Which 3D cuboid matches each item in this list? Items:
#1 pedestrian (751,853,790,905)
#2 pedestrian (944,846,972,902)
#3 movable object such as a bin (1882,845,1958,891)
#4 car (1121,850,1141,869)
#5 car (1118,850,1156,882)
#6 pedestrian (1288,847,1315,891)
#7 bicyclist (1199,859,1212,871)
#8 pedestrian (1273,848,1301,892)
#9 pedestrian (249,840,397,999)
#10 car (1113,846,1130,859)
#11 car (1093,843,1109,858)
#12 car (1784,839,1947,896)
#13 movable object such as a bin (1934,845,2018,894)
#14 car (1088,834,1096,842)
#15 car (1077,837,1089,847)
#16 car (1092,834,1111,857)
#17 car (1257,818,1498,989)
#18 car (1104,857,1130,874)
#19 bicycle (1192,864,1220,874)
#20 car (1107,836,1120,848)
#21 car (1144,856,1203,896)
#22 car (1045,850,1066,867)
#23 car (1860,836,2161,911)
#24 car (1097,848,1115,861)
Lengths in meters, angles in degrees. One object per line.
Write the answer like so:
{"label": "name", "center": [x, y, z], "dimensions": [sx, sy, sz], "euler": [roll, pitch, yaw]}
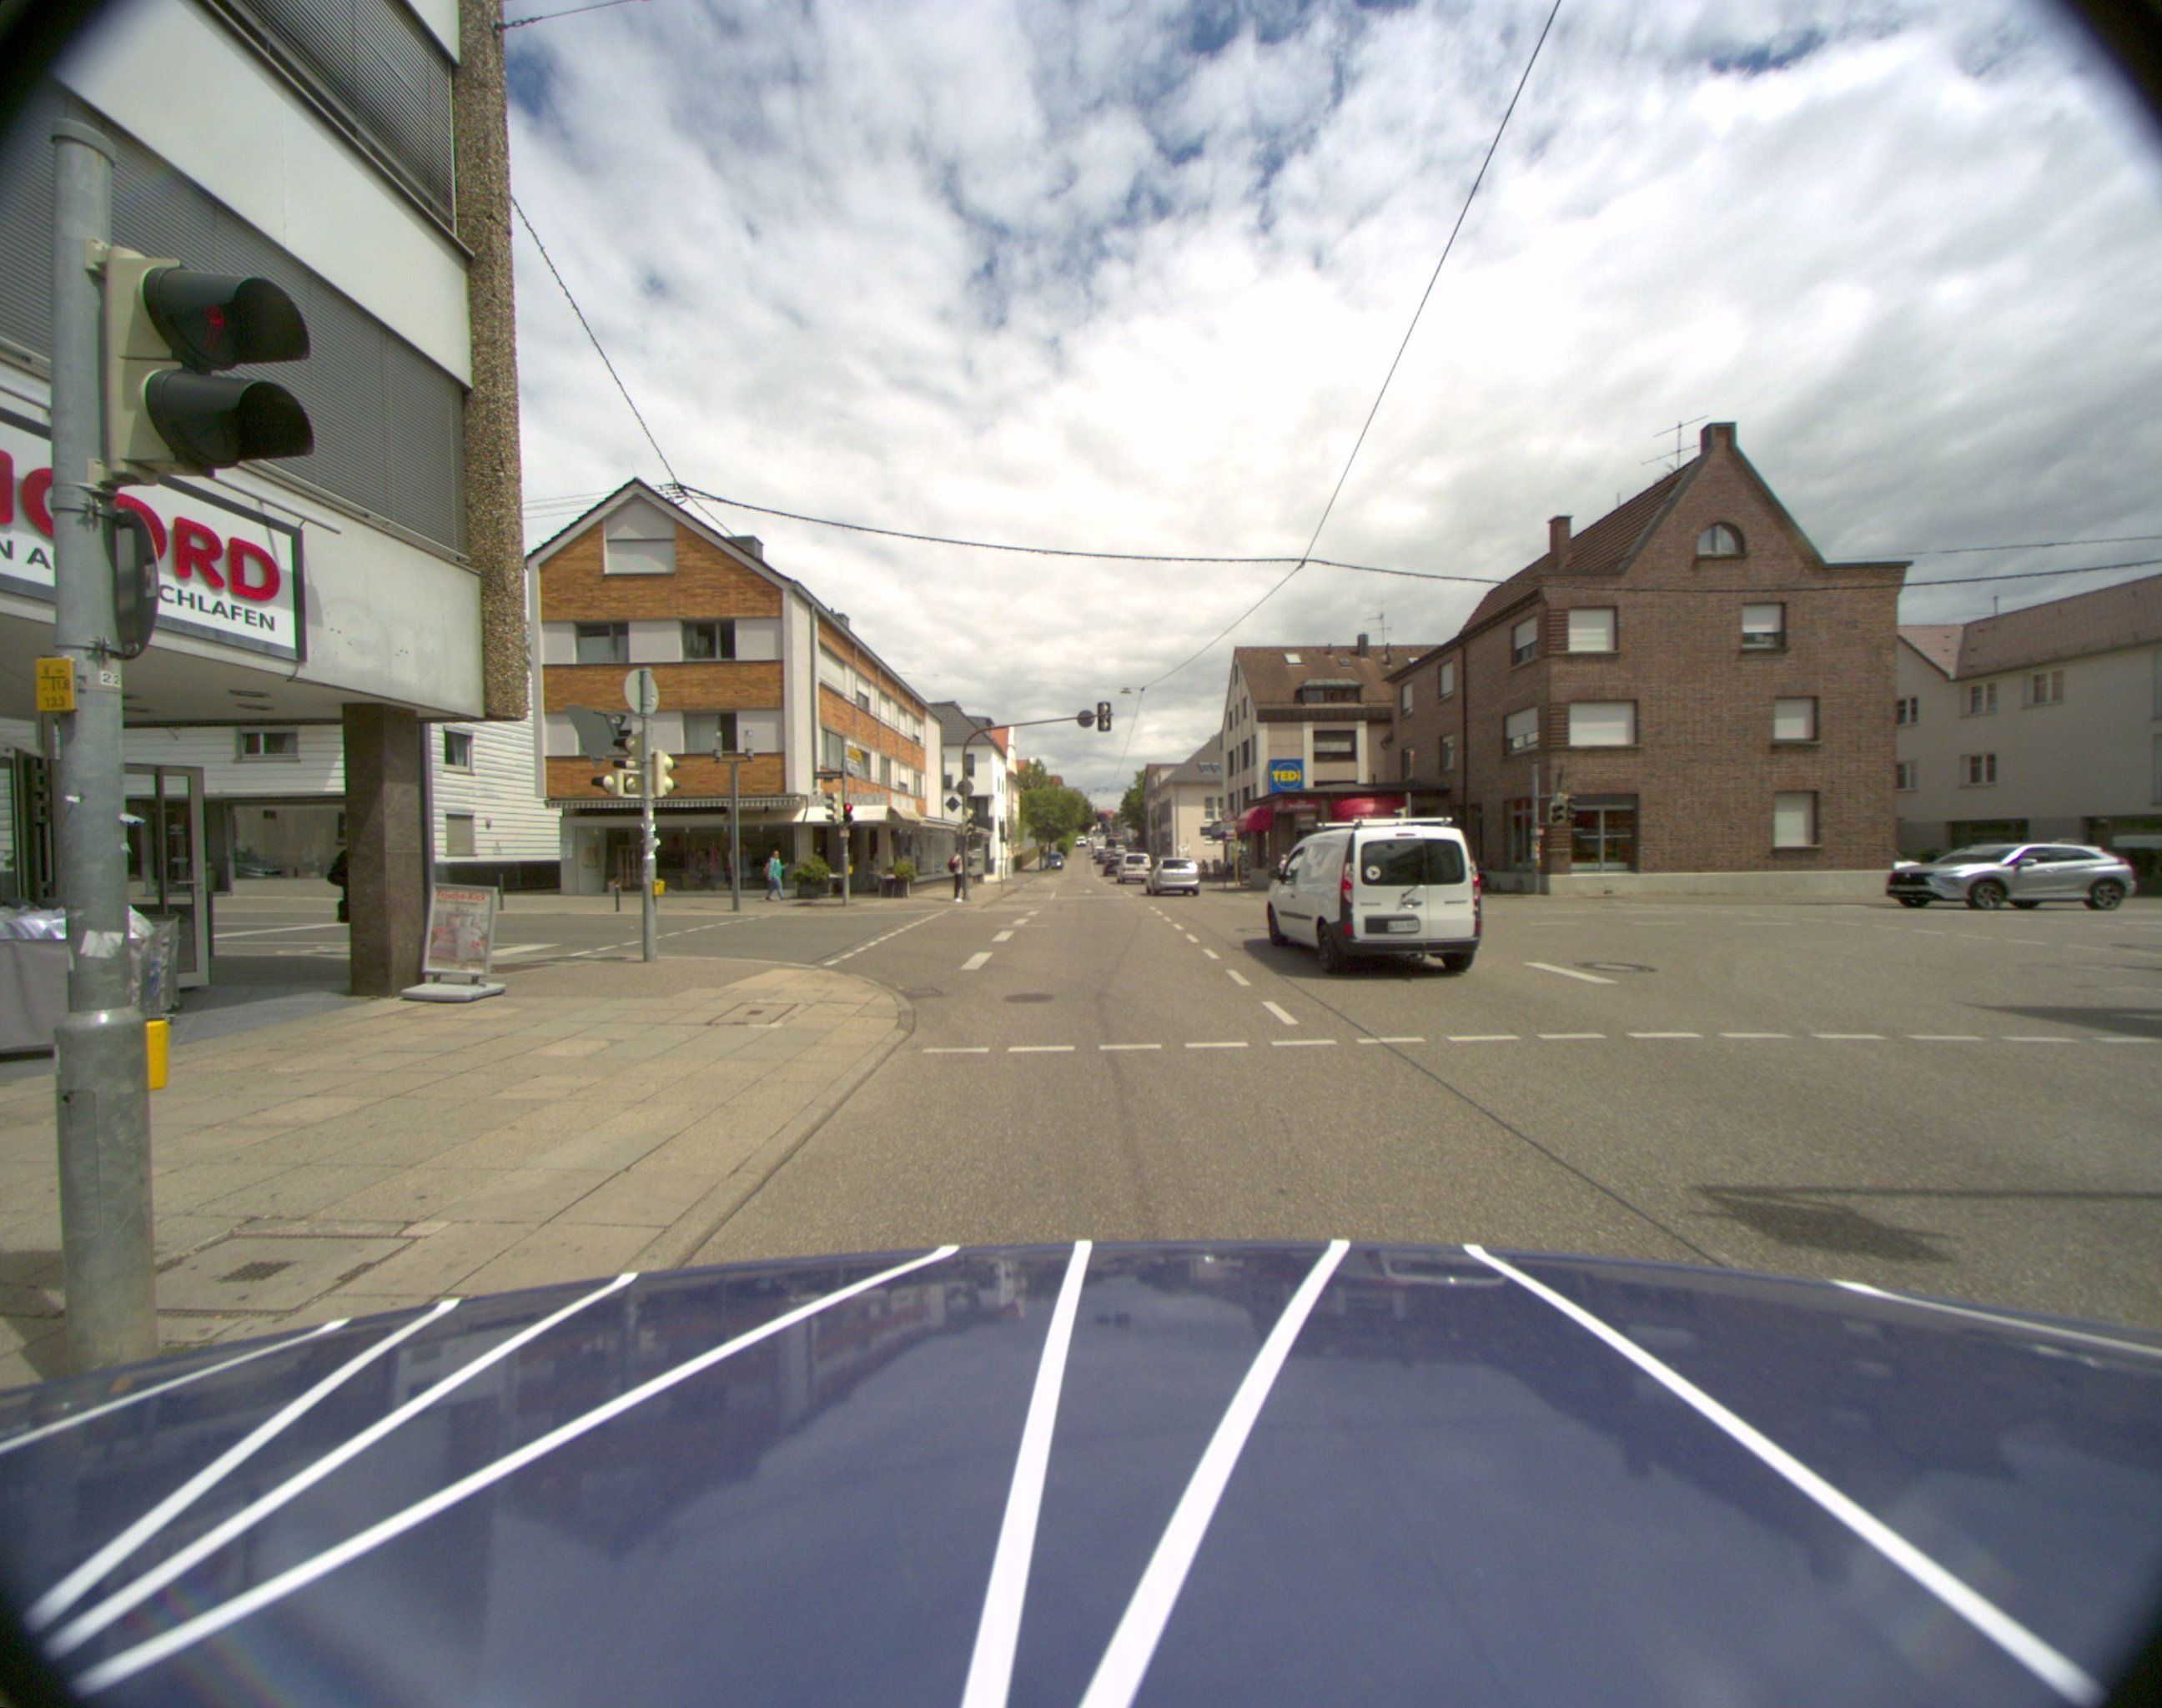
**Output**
{"label": "pedestrian", "center": [-9.211, 0.726, 22.574], "dimensions": [0.818, 1.517, 0.779], "euler": [0, 1, -1]}
{"label": "pedestrian", "center": [-4.055, 0.651, 25.047], "dimensions": [0.581, 1.820, 0.882], "euler": [1, 1, 17]}
{"label": "movable object such as a bin", "center": [31.096, 0.513, 28.193], "dimensions": [1.519, 1.615, 1.145], "euler": [-2, 1, 4]}
{"label": "car", "center": [5.868, 0.611, 89.854], "dimensions": [2.111, 2.109, 4.765], "euler": [-1, 0, 0]}
{"label": "car", "center": [3.565, 0.720, 49.543], "dimensions": [1.982, 1.985, 5.027], "euler": [0, 0, -1]}
{"label": "pedestrian", "center": [8.740, 0.583, 30.118], "dimensions": [0.684, 1.706, 0.876], "euler": [0, 1, -17]}
{"label": "bicyclist", "center": [8.868, 0.770, 54.027], "dimensions": [0.494, 0.803, 0.893], "euler": [0, 1, 45]}
{"label": "pedestrian", "center": [8.085, 0.610, 29.873], "dimensions": [0.780, 1.685, 0.794], "euler": [0, 1, -17]}
{"label": "pedestrian", "center": [-8.270, 0.681, 8.331], "dimensions": [0.806, 1.661, 0.797], "euler": [0, 1, 3]}
{"label": "car", "center": [5.742, -0.237, 107.460], "dimensions": [2.111, 1.778, 4.529], "euler": [-1, 0, 0]}
{"label": "car", "center": [2.683, -0.409, 102.176], "dimensions": [1.858, 1.957, 4.192], "euler": [0, 0, -1]}
{"label": "car", "center": [27.124, 0.444, 26.464], "dimensions": [1.869, 1.852, 3.702], "euler": [0, 0, 1]}
{"label": "movable object such as a bin", "center": [31.197, 0.528, 26.514], "dimensions": [1.519, 1.615, 1.145], "euler": [-2, 1, 4]}
{"label": "car", "center": [2.547, -3.771, 177.592], "dimensions": [1.998, 1.654, 4.000], "euler": [0, 0, 1]}
{"label": "car", "center": [0.393, -2.256, 142.276], "dimensions": [2.000, 1.797, 4.764], "euler": [3, 0, -1]}
{"label": "car", "center": [3.068, -1.311, 116.353], "dimensions": [2.428, 3.409, 7.636], "euler": [0, 0, -1]}
{"label": "car", "center": [3.811, 0.557, 10.612], "dimensions": [1.819, 1.919, 4.112], "euler": [0, 0, 1]}
{"label": "car", "center": [2.974, 0.910, 63.780], "dimensions": [1.858, 1.371, 4.271], "euler": [0, 0, -1]}
{"label": "bicycle", "center": [8.911, 1.065, 54.061], "dimensions": [2.291, 0.724, 0.663], "euler": [0, 0, -43]}
{"label": "car", "center": [6.015, -2.206, 140.493], "dimensions": [2.111, 2.109, 4.764], "euler": [0, 1, 0]}
{"label": "car", "center": [3.601, 0.821, 30.214], "dimensions": [1.757, 1.478, 3.970], "euler": [0, 0, -1]}
{"label": "car", "center": [-2.558, 0.430, 78.177], "dimensions": [1.998, 1.654, 4.000], "euler": [0, 0, 1]}
{"label": "car", "center": [23.225, 0.473, 18.998], "dimensions": [5.255, 1.758, 2.001], "euler": [0, 0, 4]}
{"label": "car", "center": [2.926, 0.062, 90.257], "dimensions": [1.858, 1.414, 4.192], "euler": [0, 0, -1]}
